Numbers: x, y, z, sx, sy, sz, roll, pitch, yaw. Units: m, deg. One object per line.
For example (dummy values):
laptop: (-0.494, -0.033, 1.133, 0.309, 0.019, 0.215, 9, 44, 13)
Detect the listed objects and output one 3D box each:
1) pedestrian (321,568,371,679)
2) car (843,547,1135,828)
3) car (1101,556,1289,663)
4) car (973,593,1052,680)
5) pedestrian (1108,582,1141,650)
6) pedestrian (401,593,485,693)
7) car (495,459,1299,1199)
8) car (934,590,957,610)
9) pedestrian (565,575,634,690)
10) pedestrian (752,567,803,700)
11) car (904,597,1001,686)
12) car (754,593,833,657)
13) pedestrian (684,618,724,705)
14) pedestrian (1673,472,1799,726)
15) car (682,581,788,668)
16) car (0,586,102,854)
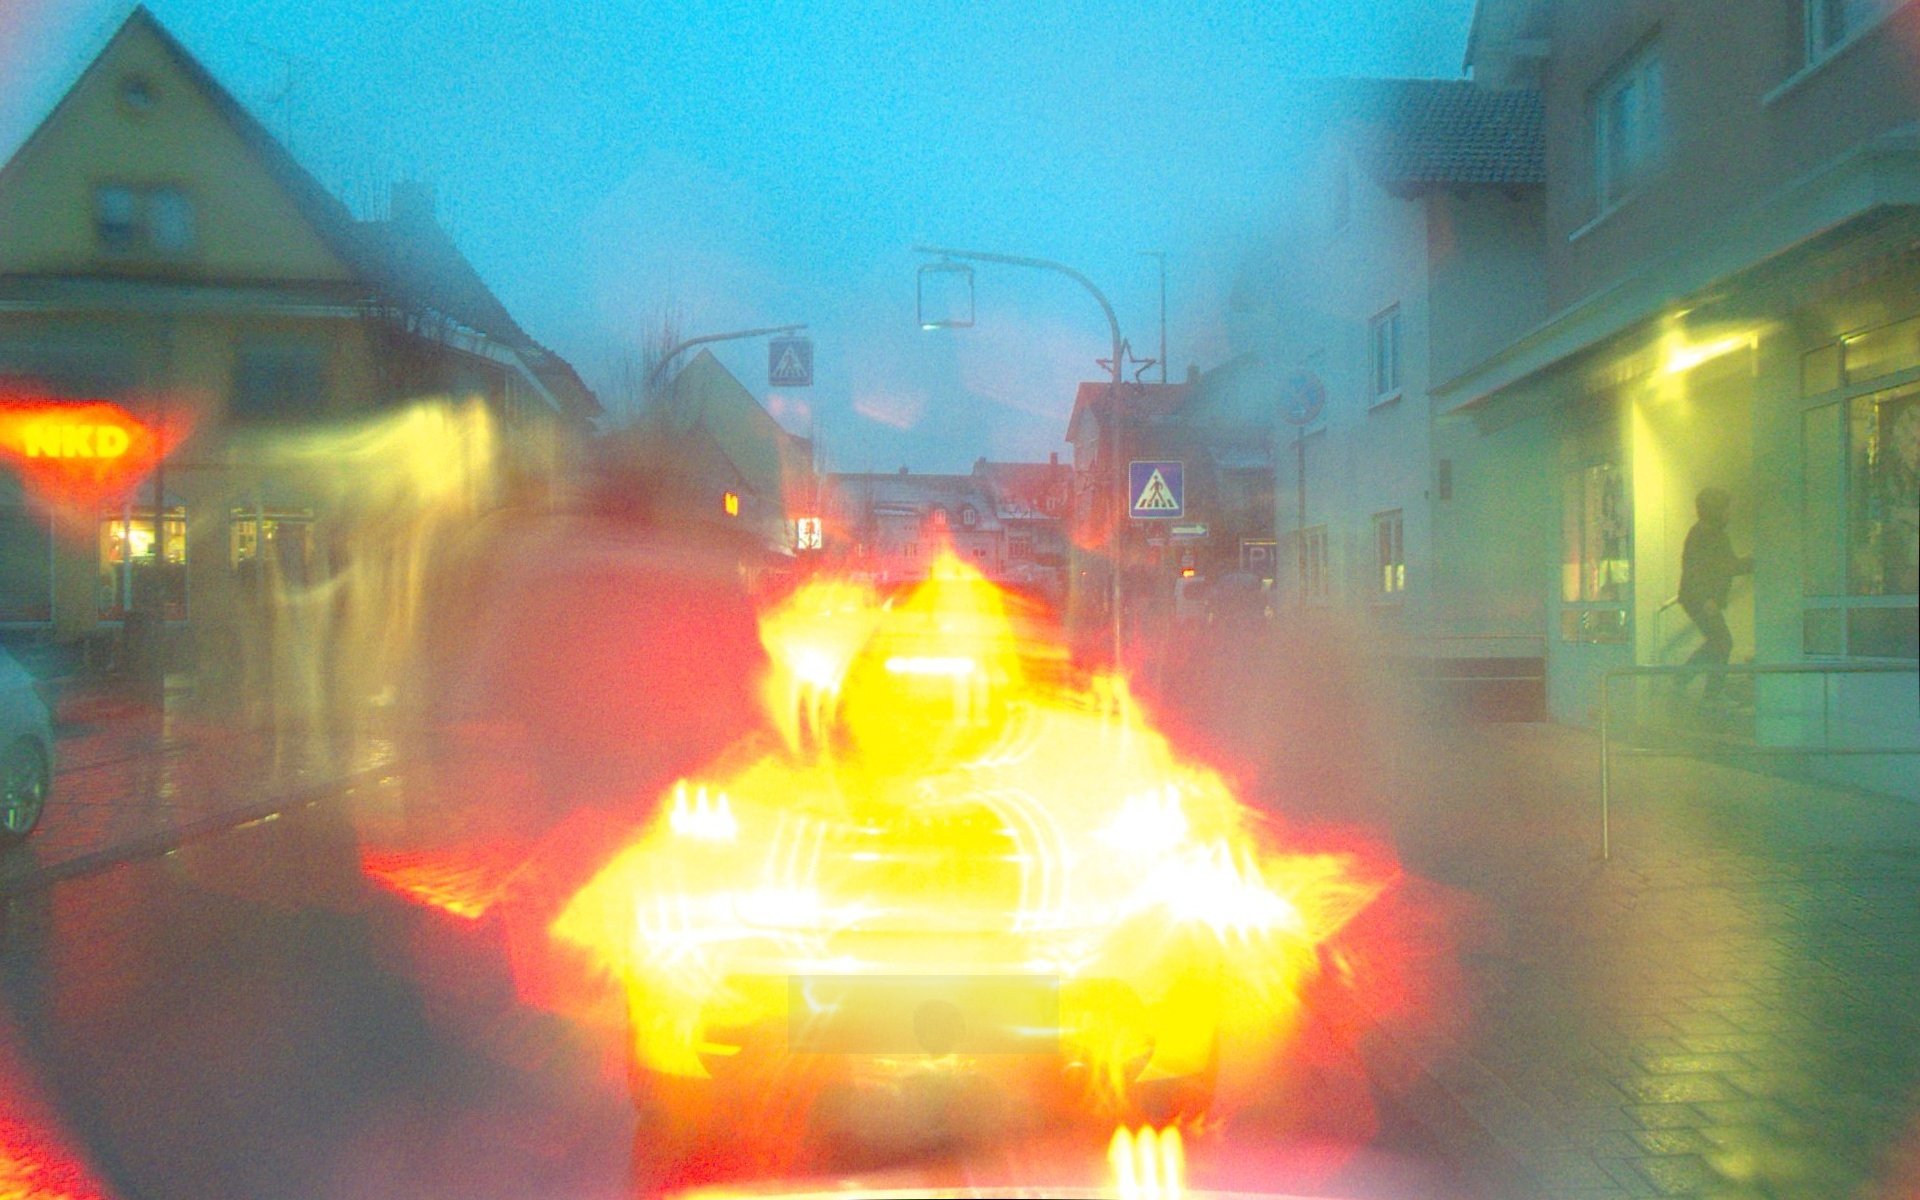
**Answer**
pedestrian: (-9.923, 0.379, 26.751, 0.576, 1.773, 0.683, 0, 0, -4)
car: (0.198, 0.543, 12.090, 1.761, 1.691, 4.000, 1, 0, 1)
car: (4.720, 0.195, 33.560, 3.620, 2.049, 1.690, 1, -1, 2)
car: (1.289, 0.883, 42.032, 1.609, 2.049, 3.998, -1, 0, -3)
pedestrian: (5.064, 0.488, 51.044, 0.995, 2.049, 1.276, 0, 0, 4)
pedestrian: (-7.974, 0.660, 25.559, 0.872, 1.442, 0.776, 6, -1, 4)
car: (-0.075, 0.547, 6.348, 1.952, 1.827, 4.650, 0, 1, 2)
car: (-1.036, -0.006, 117.648, 1.503, 1.267, 3.647, -5, 1, 0)
pedestrian: (-5.703, 0.505, 26.200, 0.955, 1.773, 0.960, 1, 1, -8)
pedestrian: (-2.676, 0.479, 24.259, 0.689, 1.909, 0.616, 1, 1, -6)
car: (-0.084, 0.764, 32.706, 1.789, 1.629, 4.582, 0, 0, 1)
car: (-4.797, 0.694, 48.103, 1.953, 1.783, 4.360, 0, 0, -1)
pedestrian: (-3.742, 0.890, 24.204, 0.542, 1.254, 0.433, 0, 0, -5)
pedestrian: (6.077, -0.005, 12.988, 0.649, 1.921, 0.824, 1, -1, 6)
car: (-5.510, 0.584, 41.087, 1.952, 2.049, 4.362, 0, 0, 1)
car: (-6.345, 0.676, 8.646, 1.636, 1.543, 3.999, 2, 0, -1)
